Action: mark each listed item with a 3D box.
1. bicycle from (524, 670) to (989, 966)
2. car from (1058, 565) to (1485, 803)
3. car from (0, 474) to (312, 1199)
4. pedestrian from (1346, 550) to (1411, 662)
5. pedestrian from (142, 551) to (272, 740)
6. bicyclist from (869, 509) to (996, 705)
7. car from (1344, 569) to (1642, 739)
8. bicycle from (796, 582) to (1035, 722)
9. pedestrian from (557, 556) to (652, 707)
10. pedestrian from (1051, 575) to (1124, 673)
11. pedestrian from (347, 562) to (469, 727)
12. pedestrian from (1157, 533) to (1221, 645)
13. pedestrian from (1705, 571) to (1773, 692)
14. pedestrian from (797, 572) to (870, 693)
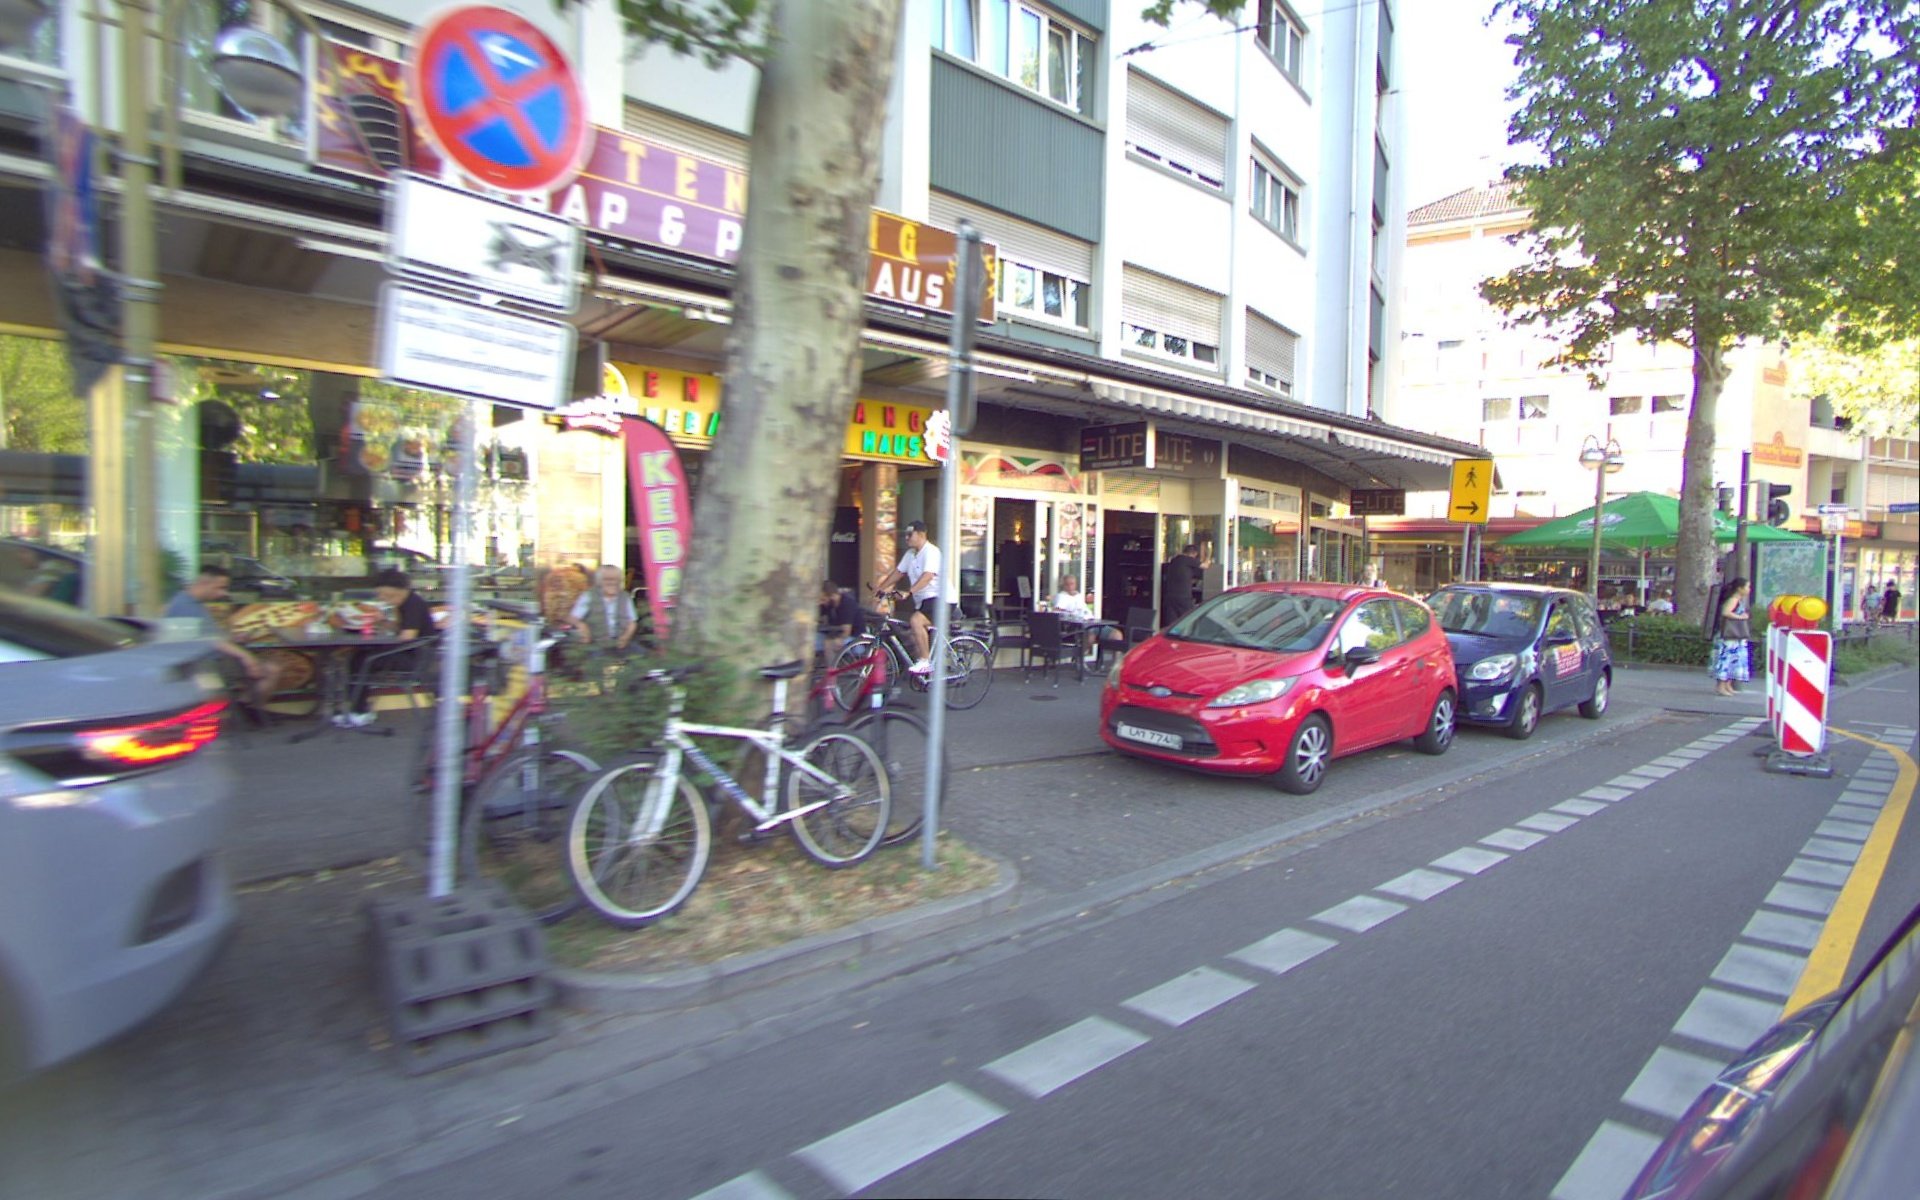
[{"bbox_3d":[-0.820,0.854,4.568,2.004,0.895,0.625,-1,4,-42],"label":"bicycle"},{"bbox_3d":[2.757,0.501,8.457,3.919,1.460,1.732,-1,4,-45],"label":"car"},{"bbox_3d":[-4.031,0.494,1.668,4.713,1.617,1.920,-1,4,-45],"label":"car"},{"bbox_3d":[6.169,0.072,14.938,0.631,1.579,0.584,0,4,-40],"label":"pedestrian"},{"bbox_3d":[-5.356,0.290,7.194,0.698,1.242,0.677,0,3,-41],"label":"pedestrian"},{"bbox_3d":[-0.262,0.036,9.521,0.815,1.729,0.771,0,4,-42],"label":"bicyclist"},{"bbox_3d":[5.957,0.466,11.144,3.736,1.497,1.658,0,3,-42],"label":"car"},{"bbox_3d":[-0.365,0.422,9.481,2.229,1.117,0.778,-1,4,-43],"label":"bicycle"},{"bbox_3d":[-3.210,0.261,9.121,0.596,1.281,0.646,0,3,-42],"label":"pedestrian"},{"bbox_3d":[1.612,0.288,12.830,0.613,1.161,0.601,0,5,-41],"label":"pedestrian"},{"bbox_3d":[-4.322,0.317,7.921,0.698,1.191,0.677,0,3,-42],"label":"pedestrian"},{"bbox_3d":[3.627,-0.184,16.025,0.666,1.730,0.709,0,2,-41],"label":"pedestrian"},{"bbox_3d":[10.493,0.400,13.638,0.464,1.580,0.622,0,2,-42],"label":"pedestrian"},{"bbox_3d":[-1.257,0.309,10.094,0.514,1.148,0.504,3,2,27],"label":"pedestrian"}]
